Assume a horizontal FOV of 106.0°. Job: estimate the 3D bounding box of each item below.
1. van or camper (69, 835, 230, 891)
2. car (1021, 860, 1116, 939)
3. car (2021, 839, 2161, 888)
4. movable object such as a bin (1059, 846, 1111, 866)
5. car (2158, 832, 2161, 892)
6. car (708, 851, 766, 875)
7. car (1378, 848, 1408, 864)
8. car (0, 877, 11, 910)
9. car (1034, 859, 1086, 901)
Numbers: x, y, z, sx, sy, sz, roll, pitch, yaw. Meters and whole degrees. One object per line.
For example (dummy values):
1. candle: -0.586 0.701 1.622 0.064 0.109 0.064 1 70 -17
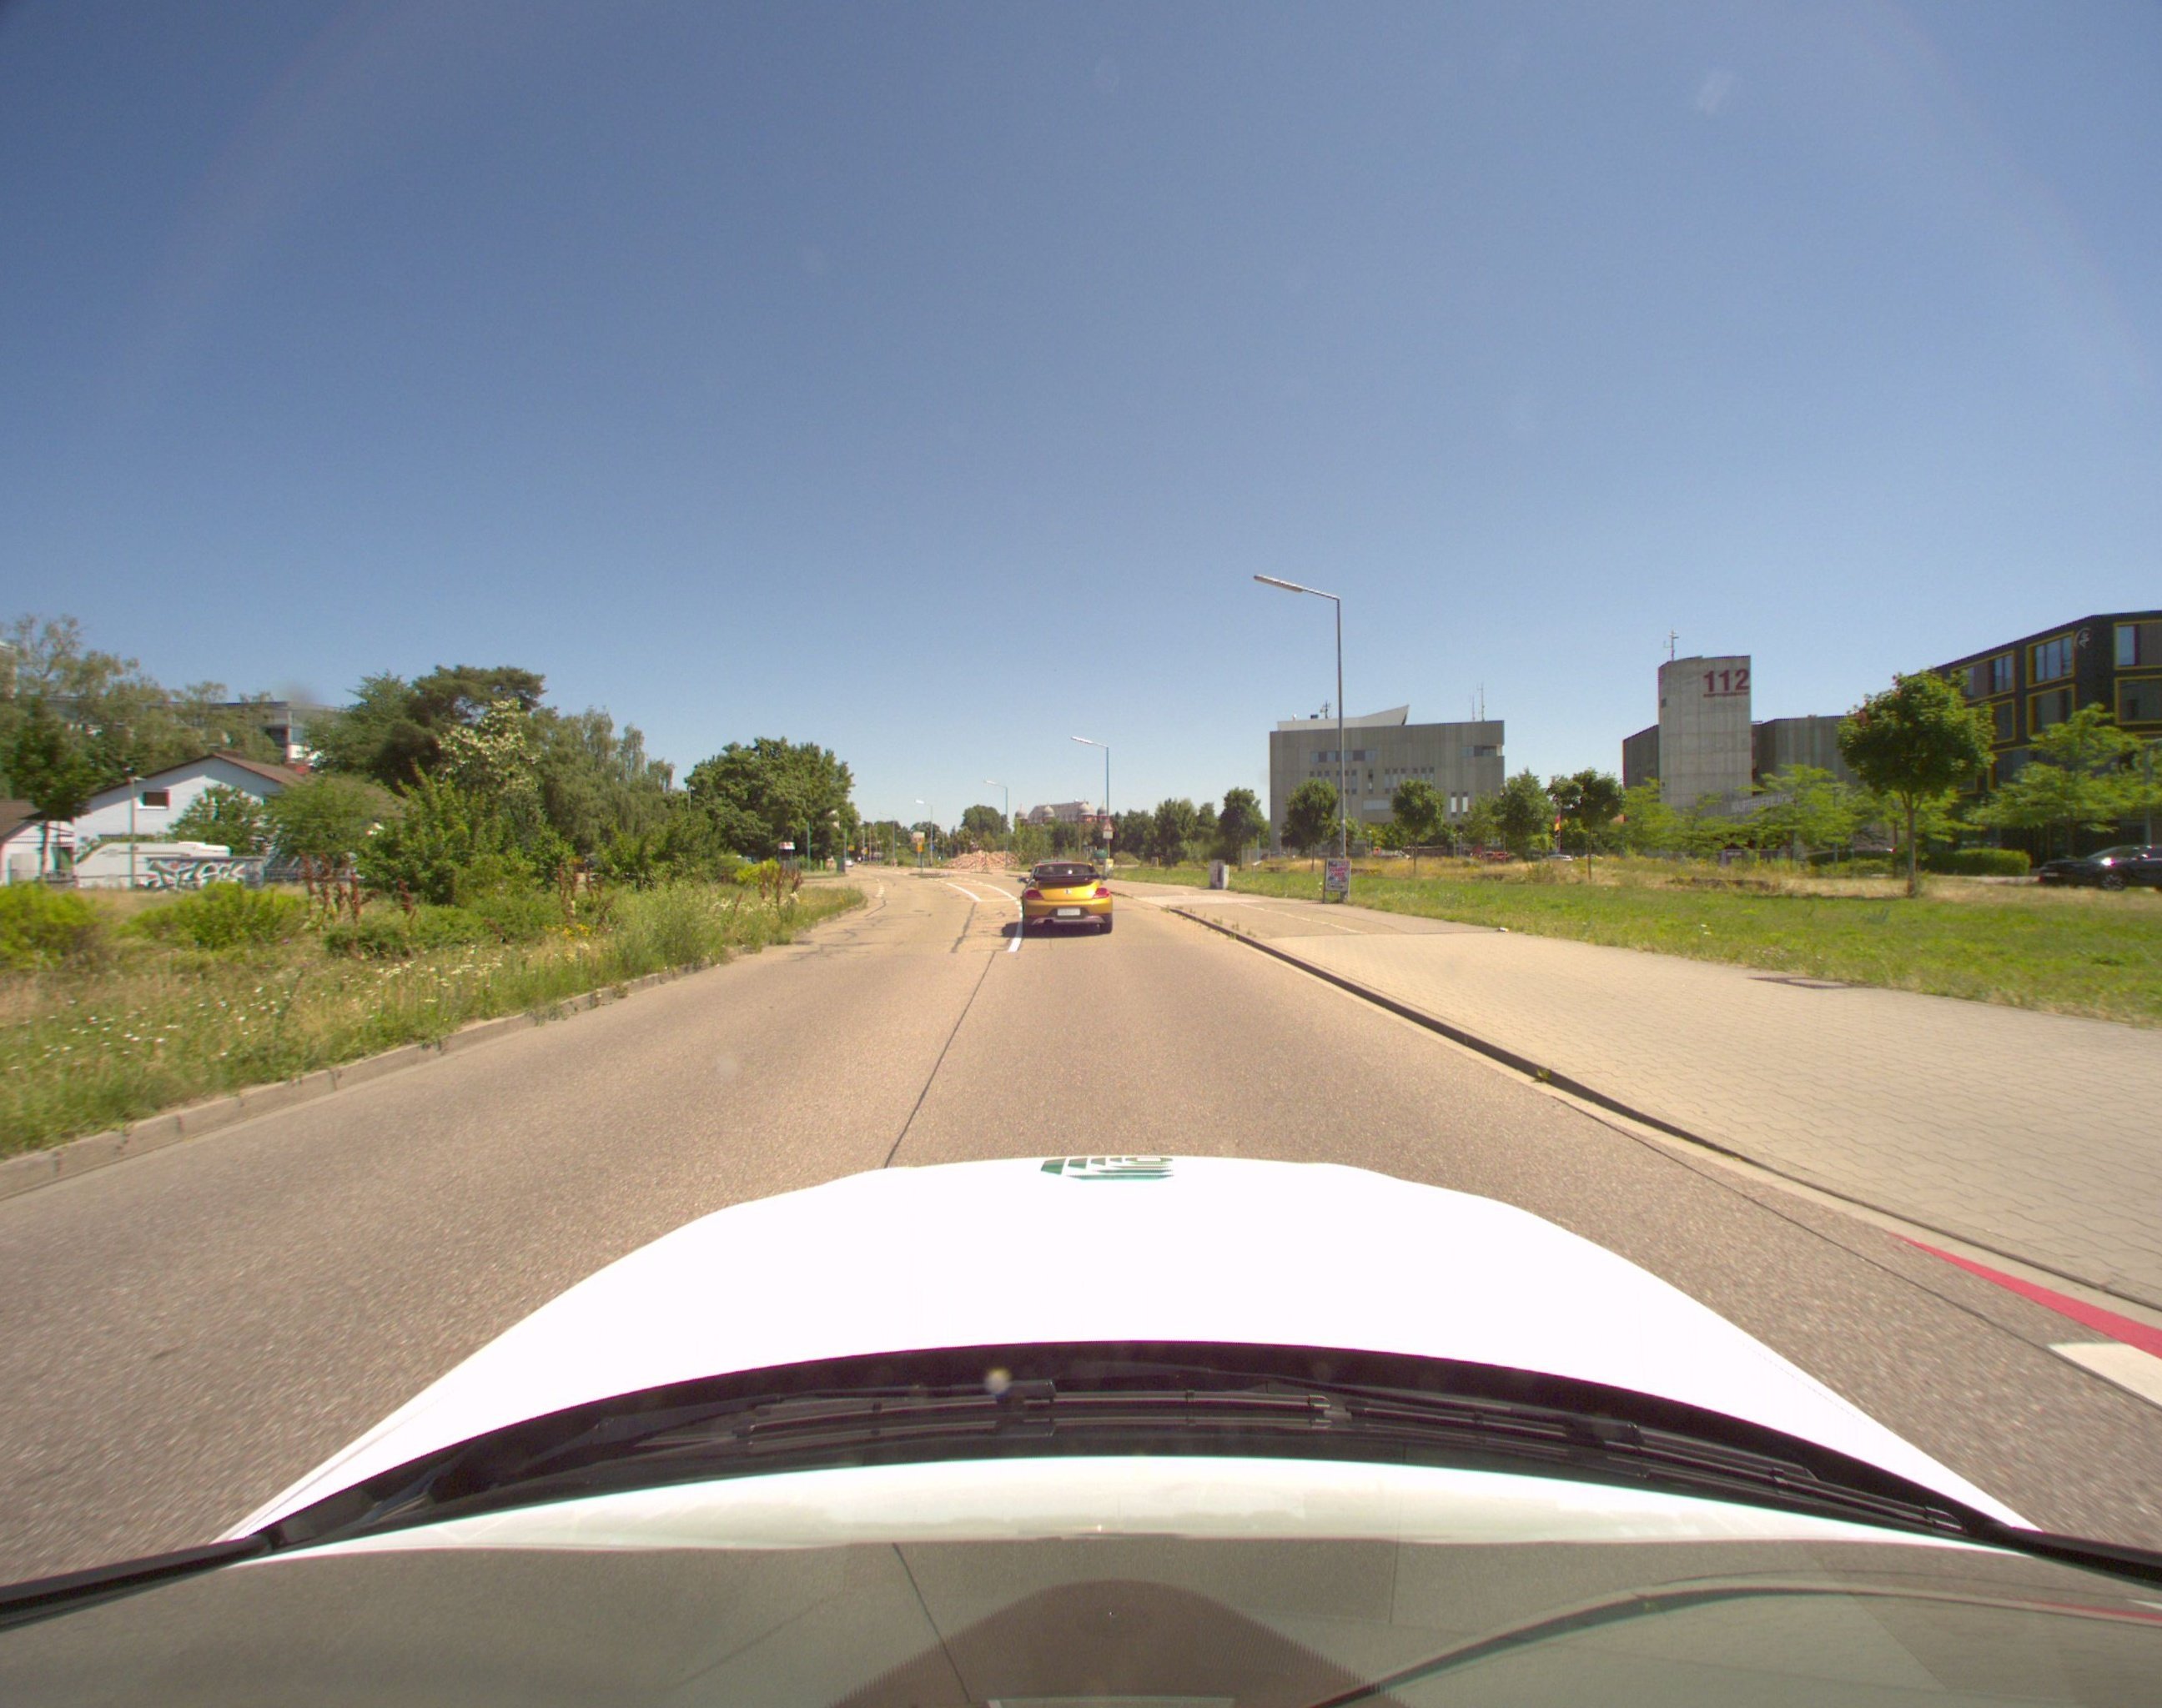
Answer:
1. van or camper: -45.818 0.448 40.233 4.468 2.591 2.474 2 -1 -22
2. car: -0.367 0.863 17.245 1.787 1.436 3.808 0 0 -4
3. car: 32.750 0.289 25.424 4.084 1.444 1.969 -1 0 13
4. movable object such as a bin: 0.543 0.338 135.879 4.962 3.260 10.384 0 0 -24
5. car: 31.053 0.199 20.707 4.025 1.652 1.964 -1 0 19
6. car: -29.536 0.782 70.080 4.310 1.977 1.775 0 0 -13
7. car: 43.724 0.286 114.256 3.810 2.294 1.751 -1 -1 20
8. car: -52.989 1.894 37.566 3.999 1.552 1.903 0 0 -19
9. car: -0.844 0.924 30.311 1.723 1.443 3.994 0 0 -4
